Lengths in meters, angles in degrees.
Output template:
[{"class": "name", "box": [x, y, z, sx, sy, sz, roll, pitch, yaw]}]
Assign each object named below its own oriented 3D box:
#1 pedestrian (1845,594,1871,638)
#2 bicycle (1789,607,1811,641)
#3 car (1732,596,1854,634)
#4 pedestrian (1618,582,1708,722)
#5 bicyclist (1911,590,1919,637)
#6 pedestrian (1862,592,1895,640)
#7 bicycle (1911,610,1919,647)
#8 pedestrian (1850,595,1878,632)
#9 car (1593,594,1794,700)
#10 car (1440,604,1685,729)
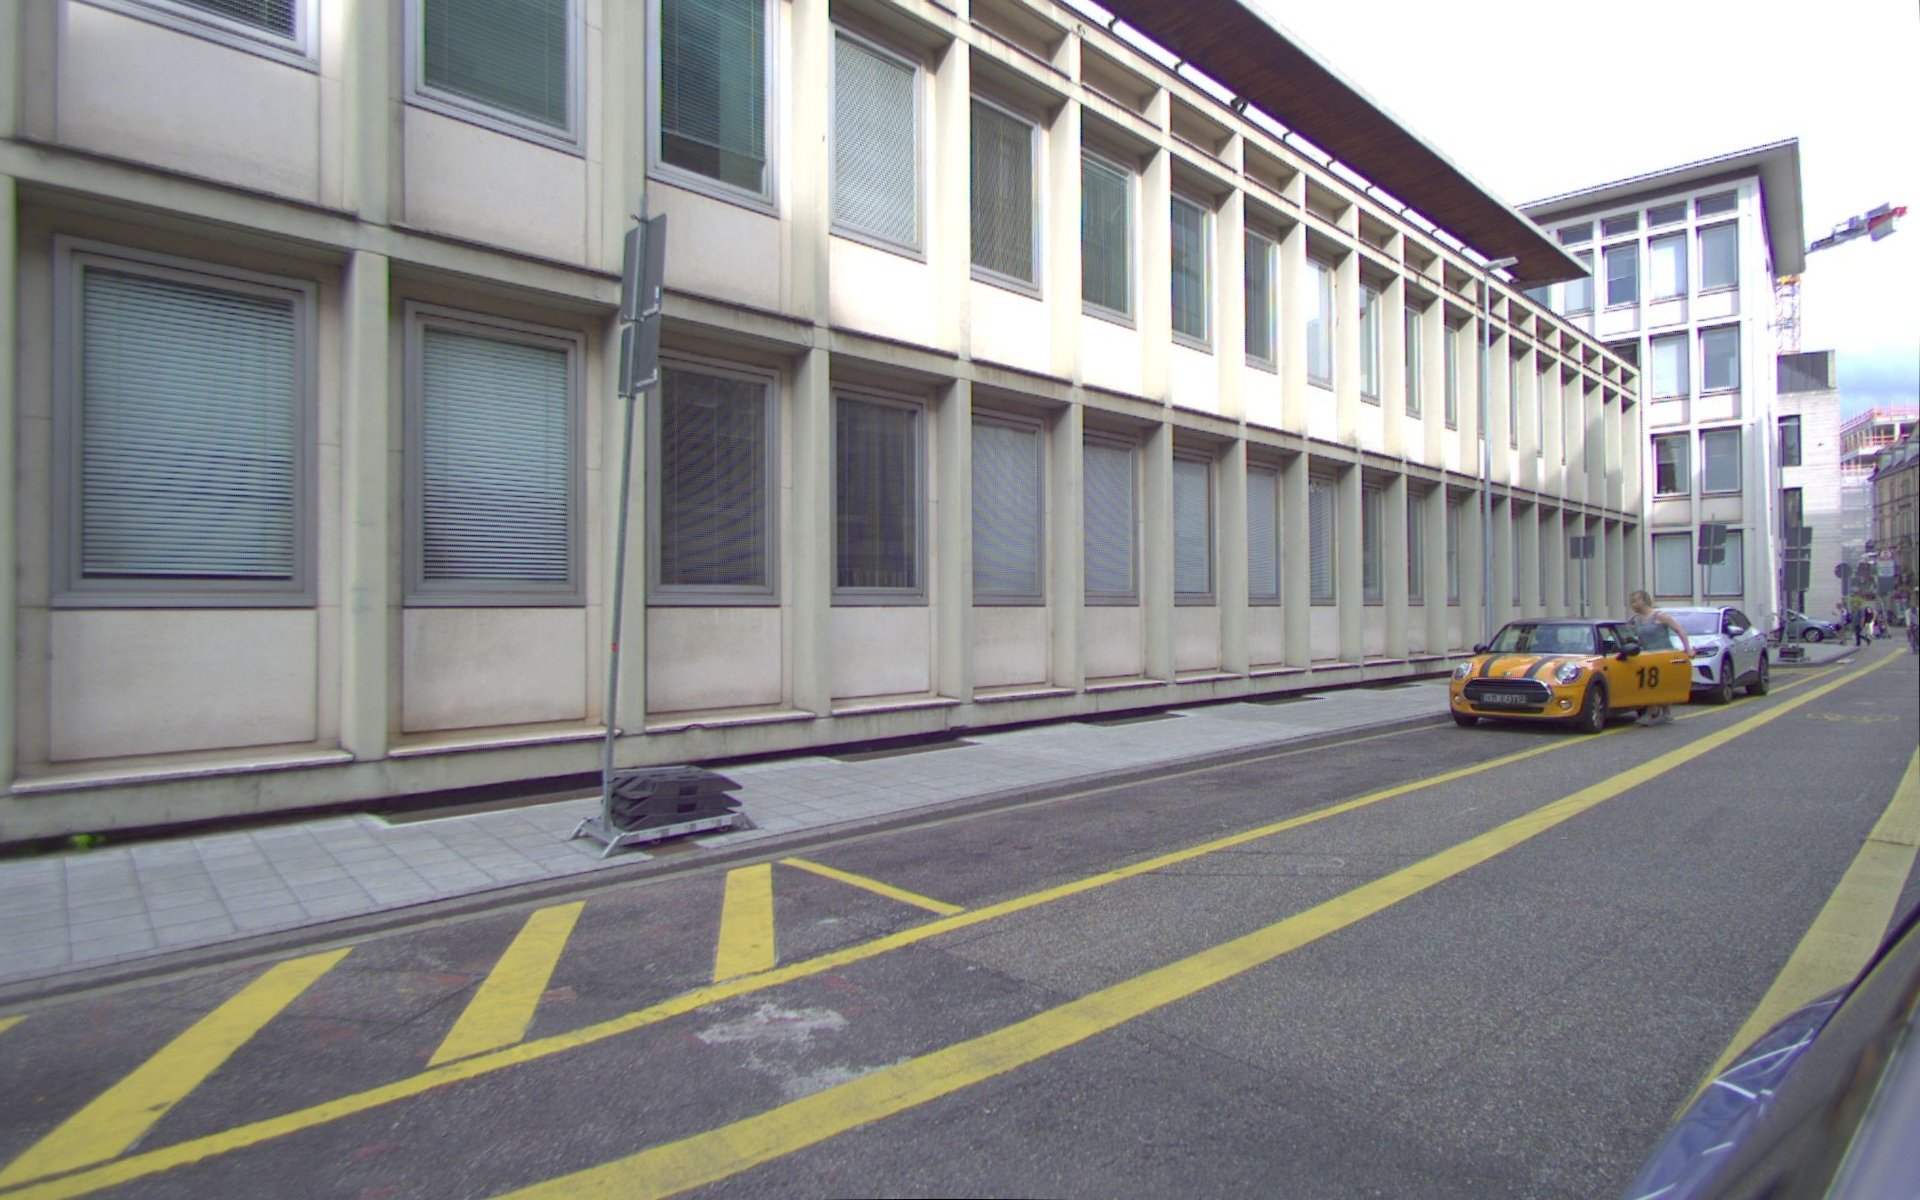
[{"class": "pedestrian", "box": [36.582, 0.658, 41.248, 0.639, 1.788, 0.646, -2, -2, 34]}, {"class": "bicycle", "box": [30.601, 0.853, 36.853, 0.588, 1.182, 1.788, -1, 0, 41]}, {"class": "car", "box": [37.960, 0.656, 46.158, 4.182, 1.610, 1.786, 0, 0, 44]}, {"class": "pedestrian", "box": [9.279, 0.661, 13.377, 0.685, 1.786, 0.707, 0, 0, -23]}, {"class": "bicyclist", "box": [33.178, 0.463, 34.642, 0.890, 1.614, 0.863, -1, 0, 45]}, {"class": "pedestrian", "box": [36.634, 0.630, 40.387, 0.740, 1.838, 0.747, -5, -3, 34]}, {"class": "bicycle", "box": [33.146, 0.956, 34.625, 0.868, 1.210, 2.819, -1, 0, 43]}, {"class": "pedestrian", "box": [44.458, 0.679, 49.762, 0.643, 1.788, 0.642, -4, -3, 9]}, {"class": "car", "box": [13.062, 0.769, 17.920, 4.434, 1.626, 1.862, -1, -3, -41]}, {"class": "car", "box": [8.222, 0.801, 13.697, 3.818, 1.453, 1.683, 0, -2, -40]}]
